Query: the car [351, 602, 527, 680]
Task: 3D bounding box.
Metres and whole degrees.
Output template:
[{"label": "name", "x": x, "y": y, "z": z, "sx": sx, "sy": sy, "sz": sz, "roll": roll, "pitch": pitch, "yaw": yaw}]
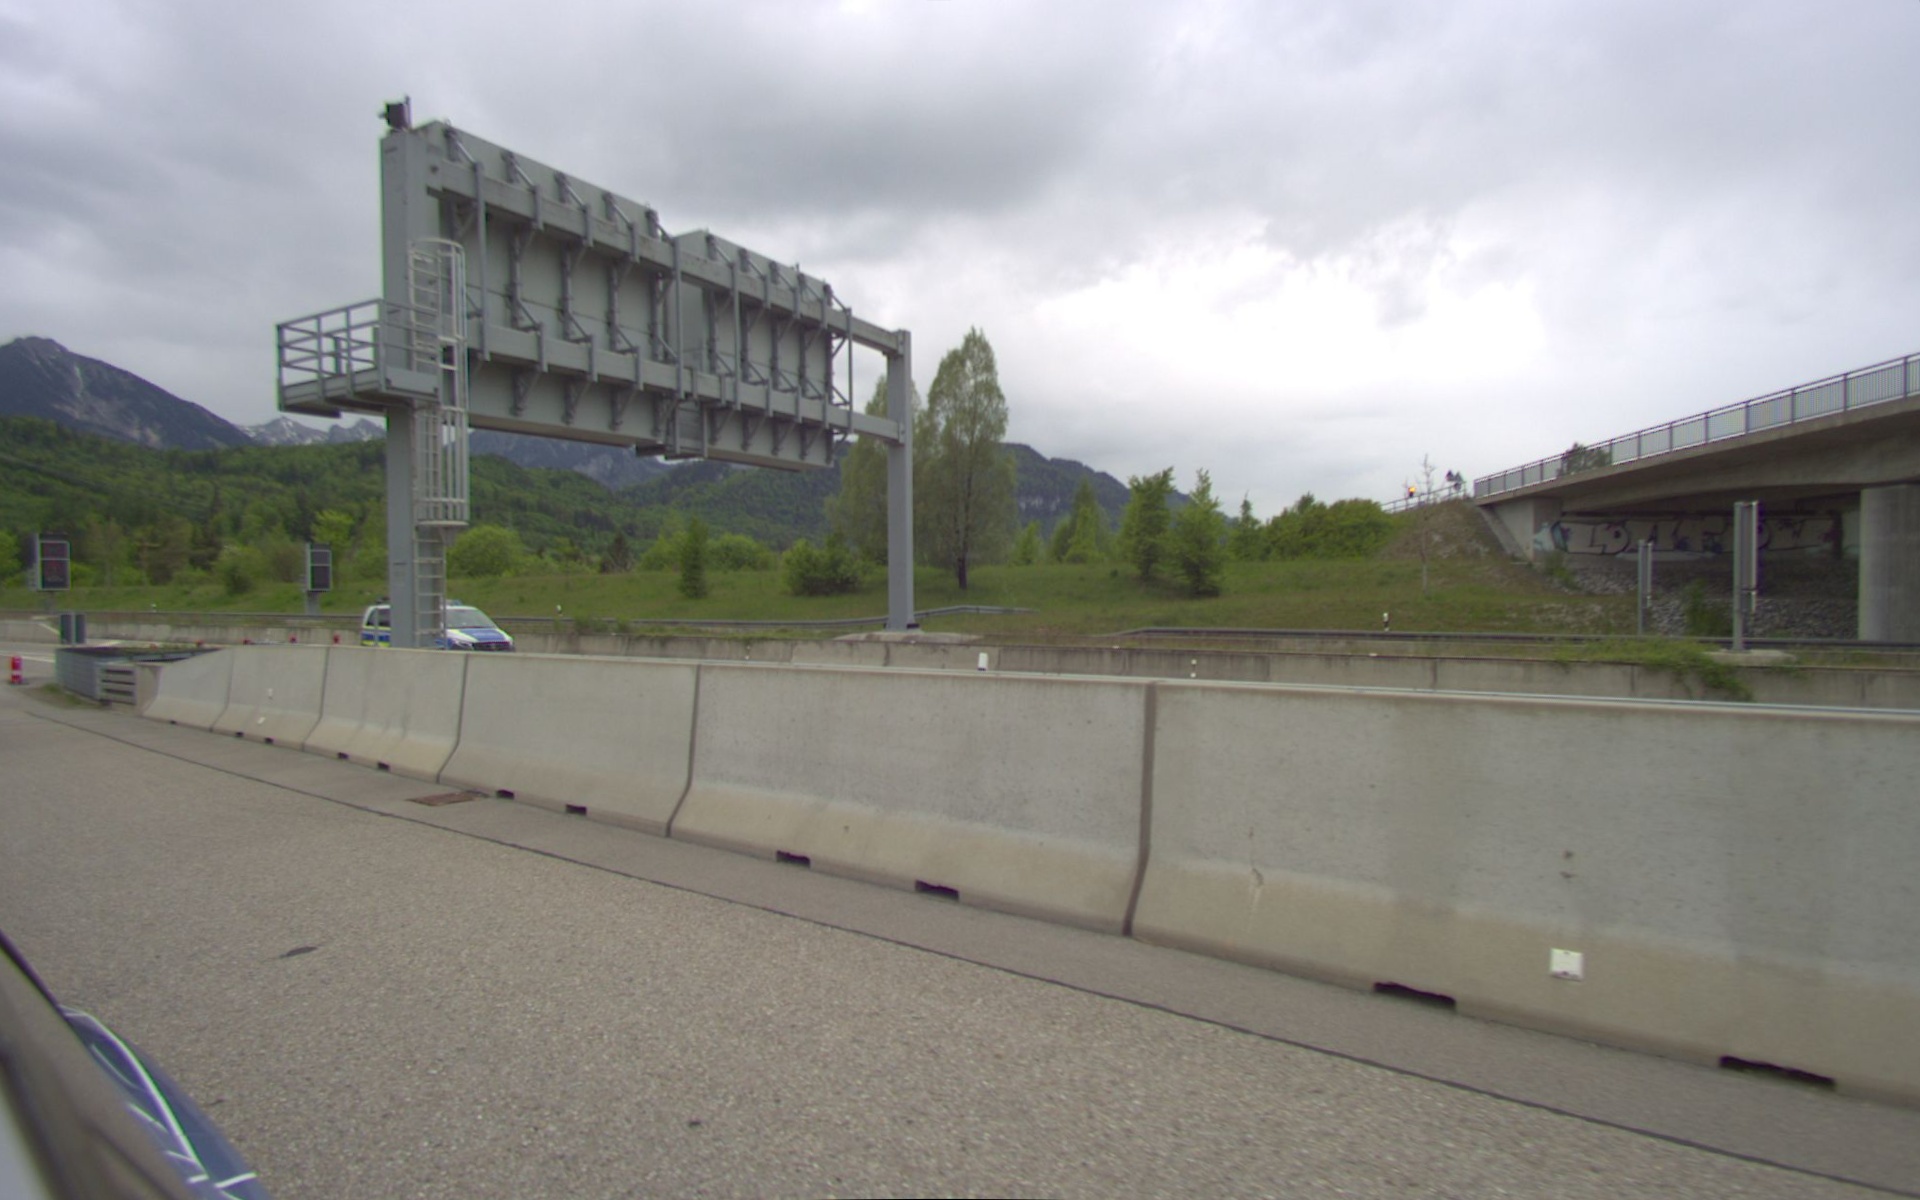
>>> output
[{"label": "car", "x": -14.719, "y": 1.088, "z": 28.527, "sx": 5.033, "sy": 2.029, "sz": 2.083, "roll": 0, "pitch": -1, "yaw": 31}]
